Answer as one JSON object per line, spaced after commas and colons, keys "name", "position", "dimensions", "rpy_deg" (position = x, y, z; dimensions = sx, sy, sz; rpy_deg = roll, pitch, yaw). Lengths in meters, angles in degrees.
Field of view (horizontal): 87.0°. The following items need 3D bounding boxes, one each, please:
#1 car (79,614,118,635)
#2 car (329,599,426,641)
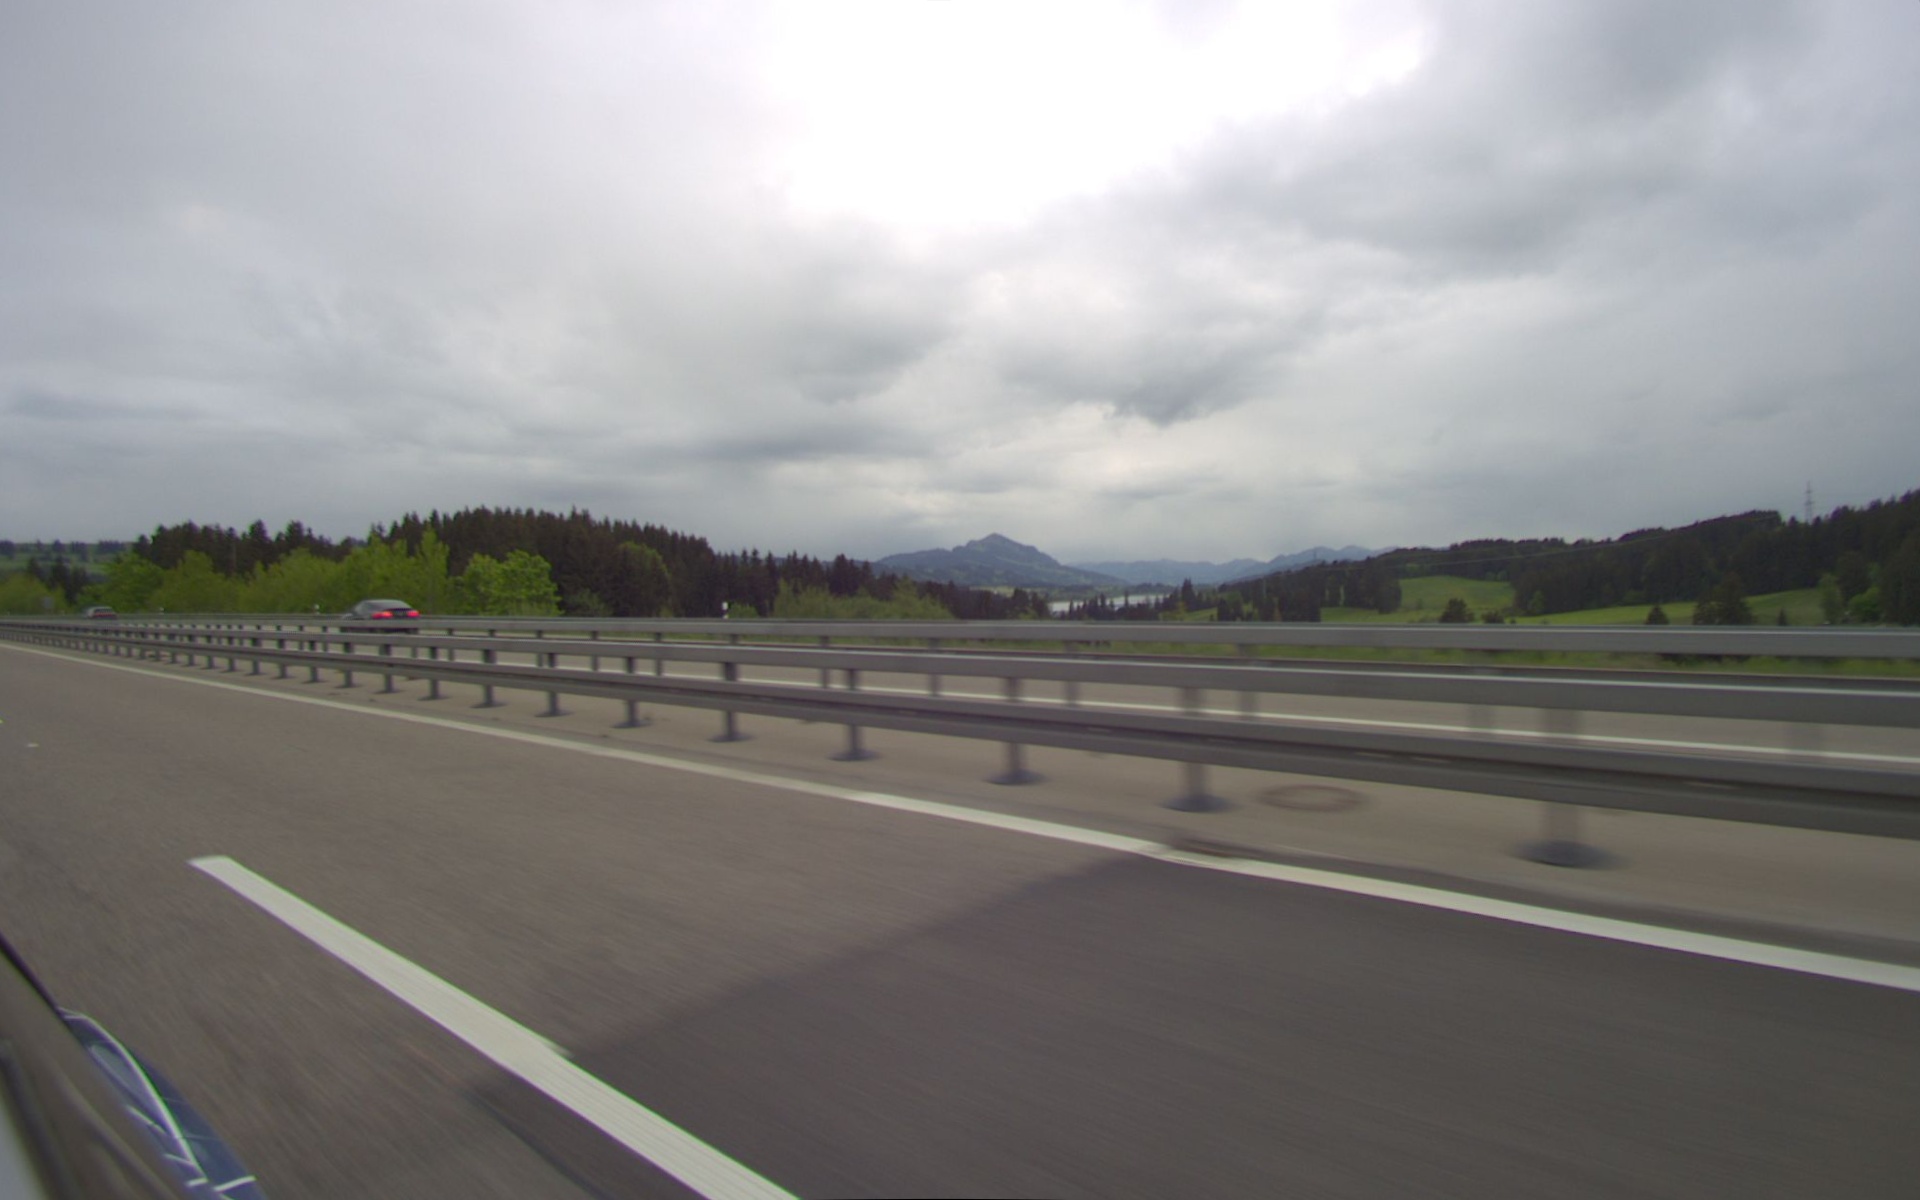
{"name": "car", "position": [-72.150, 2.027, 84.707], "dimensions": [4.227, 1.624, 1.880], "rpy_deg": [-1, 1, 41]}
{"name": "car", "position": [-24.468, 0.795, 42.434], "dimensions": [4.844, 1.629, 1.973], "rpy_deg": [-1, 1, 40]}
